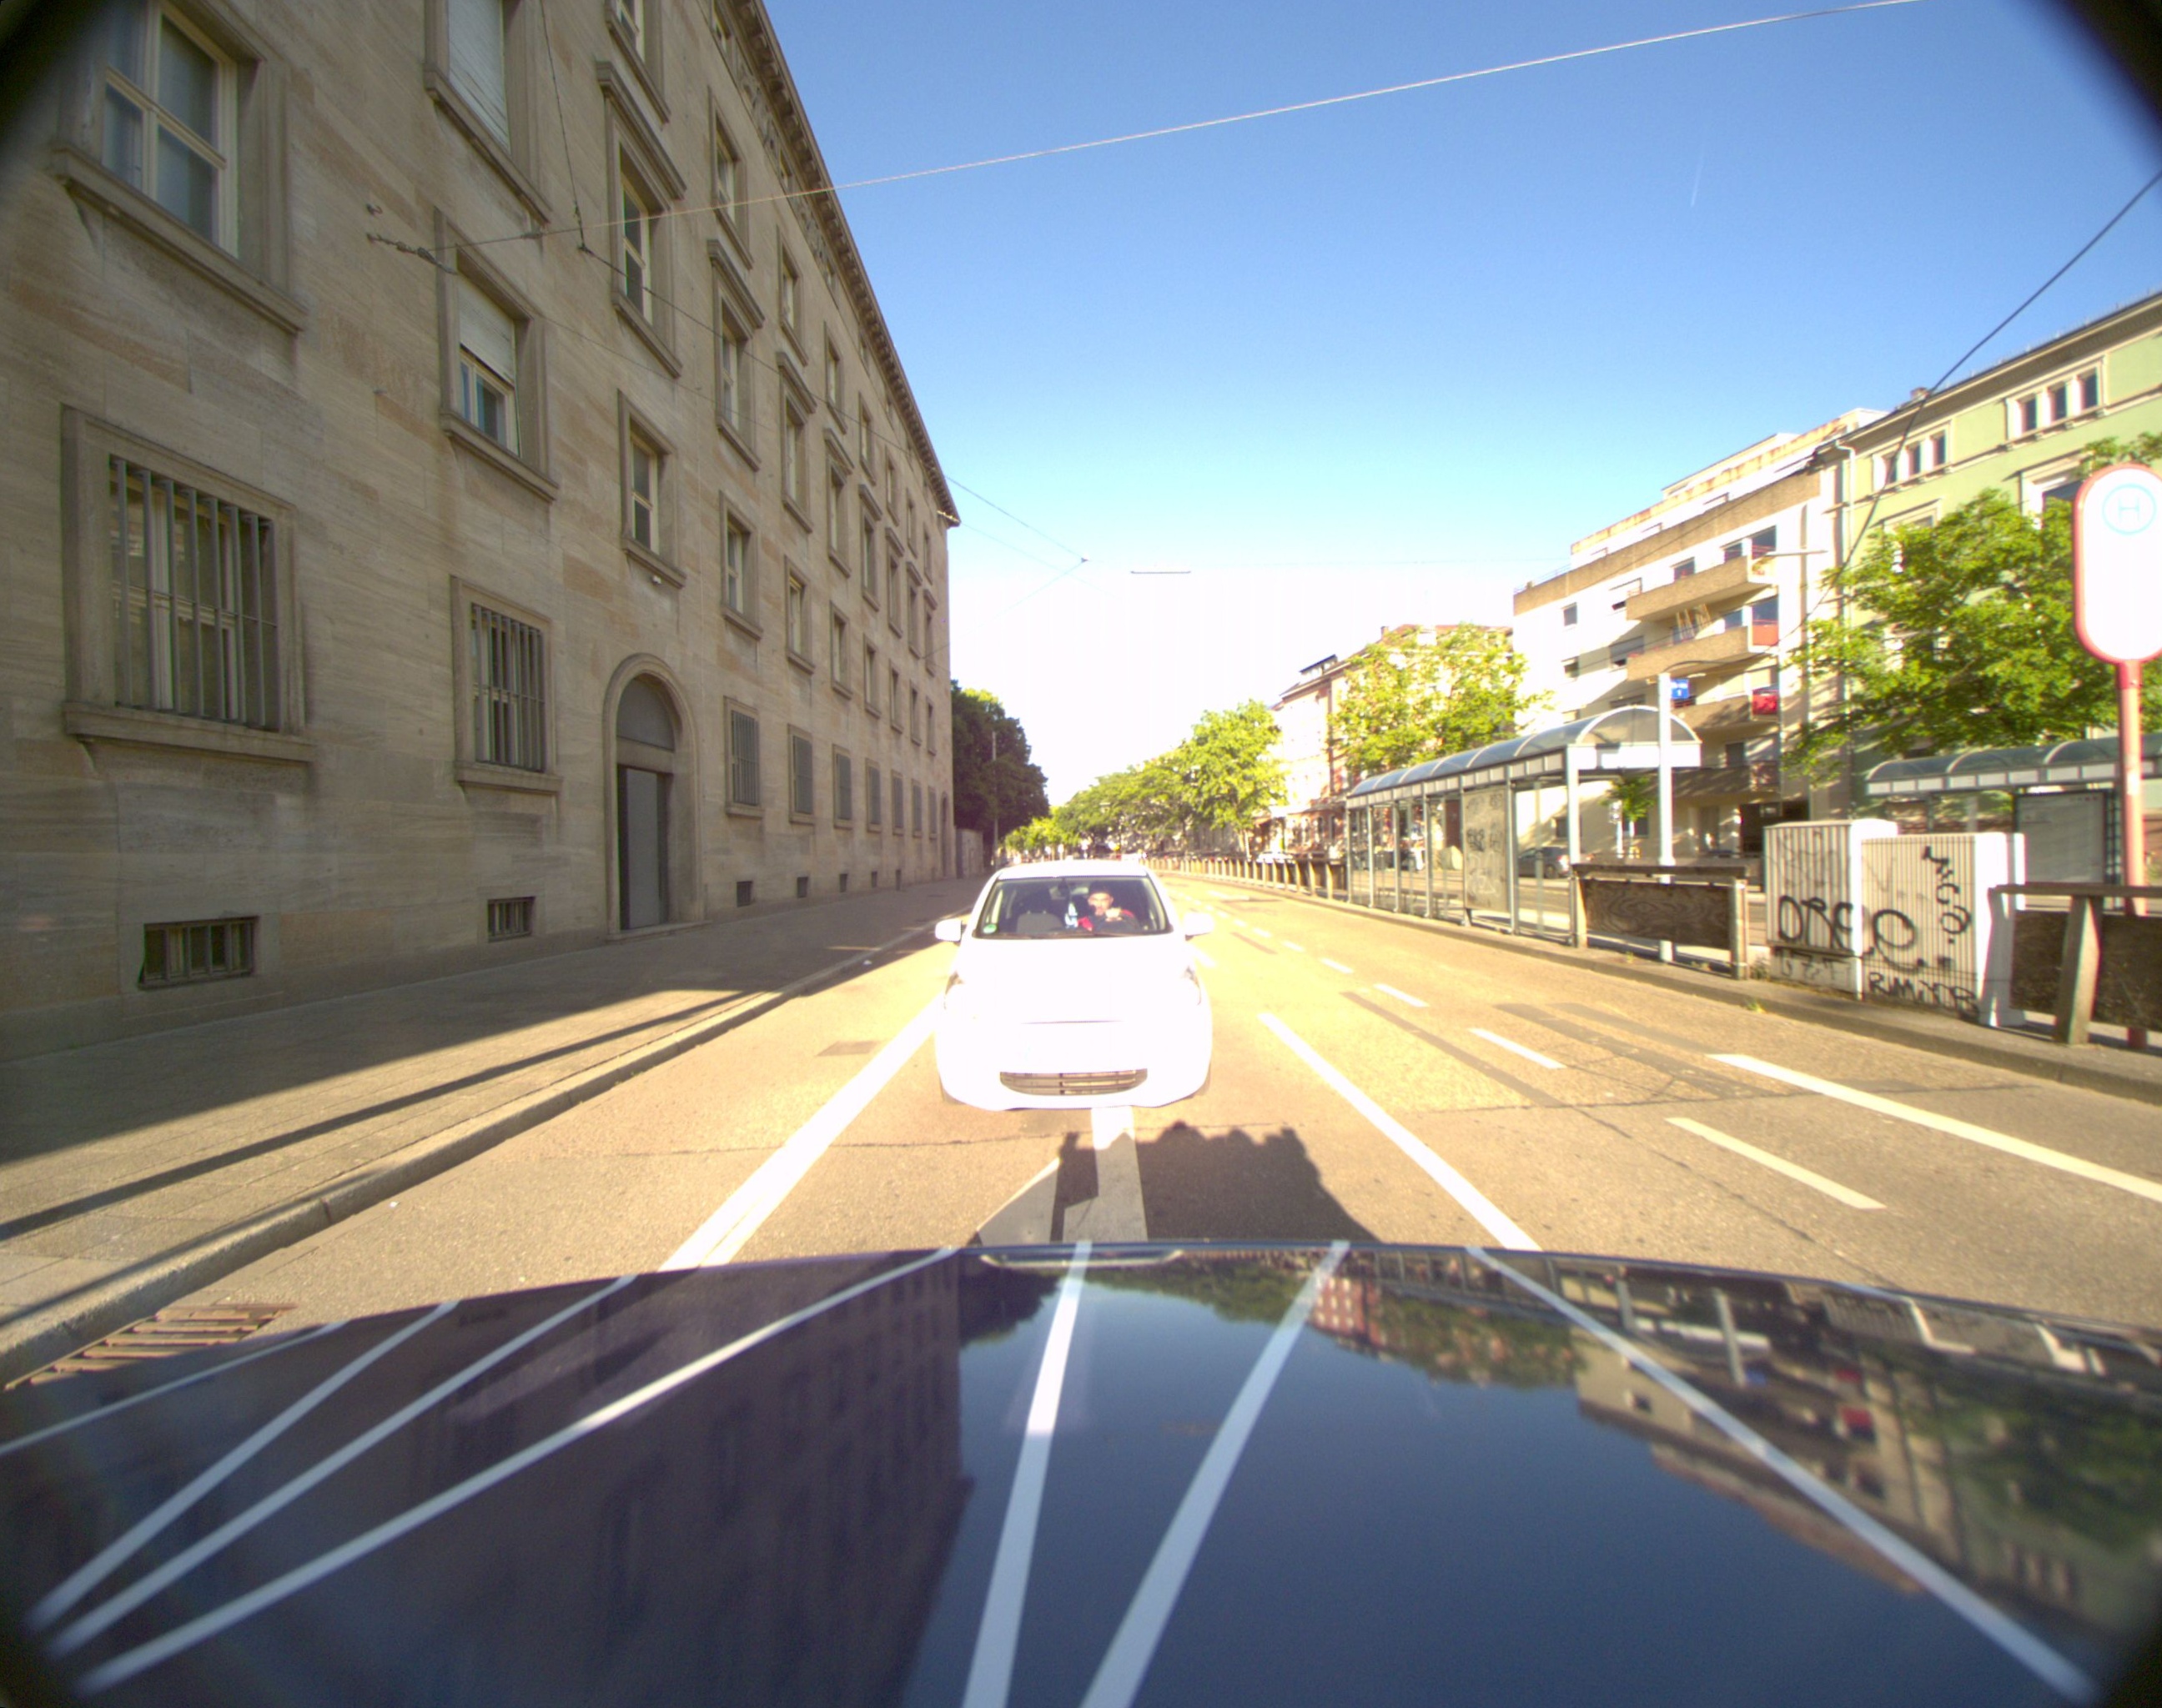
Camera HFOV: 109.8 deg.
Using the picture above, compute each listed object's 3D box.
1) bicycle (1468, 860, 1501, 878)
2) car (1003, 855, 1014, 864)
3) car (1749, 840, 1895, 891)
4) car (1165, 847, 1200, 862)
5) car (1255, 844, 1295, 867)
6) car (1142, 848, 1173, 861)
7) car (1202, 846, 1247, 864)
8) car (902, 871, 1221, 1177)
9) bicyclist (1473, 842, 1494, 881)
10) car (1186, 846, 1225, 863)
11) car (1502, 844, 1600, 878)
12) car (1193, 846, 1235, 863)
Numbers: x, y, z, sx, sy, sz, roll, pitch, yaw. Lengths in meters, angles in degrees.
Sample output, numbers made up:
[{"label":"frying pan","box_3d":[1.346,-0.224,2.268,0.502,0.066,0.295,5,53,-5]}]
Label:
[{"label":"bicycle","box_3d":[18.570,0.698,35.030,0.536,0.782,1.853,-1,-1,1]},{"label":"car","box_3d":[-14.666,1.188,153.654,2.000,1.761,3.996,-1,0,-9]},{"label":"car","box_3d":[23.940,0.348,24.576,3.796,1.526,1.772,-1,0,-17]},{"label":"car","box_3d":[11.451,0.077,86.116,3.864,1.583,2.001,-1,0,5]},{"label":"car","box_3d":[16.316,0.113,63.703,1.994,1.713,4.007,0,2,34]},{"label":"car","box_3d":[9.580,0.056,95.742,3.864,1.583,2.000,-1,0,4]},{"label":"car","box_3d":[13.649,0.071,72.618,3.996,1.674,2.000,-1,0,4]},{"label":"car","box_3d":[-0.076,0.916,5.731,1.612,1.450,3.667,-1,0,1]},{"label":"bicyclist","box_3d":[18.557,0.352,35.016,0.536,1.750,0.771,-1,0,1]},{"label":"car","box_3d":[13.171,0.022,80.555,3.996,1.674,2.000,-1,0,4]},{"label":"car","box_3d":[20.853,0.288,33.860,1.615,1.387,3.516,-1,0,-19]},{"label":"car","box_3d":[13.364,0.053,76.752,3.996,1.674,2.000,-1,0,4]}]
